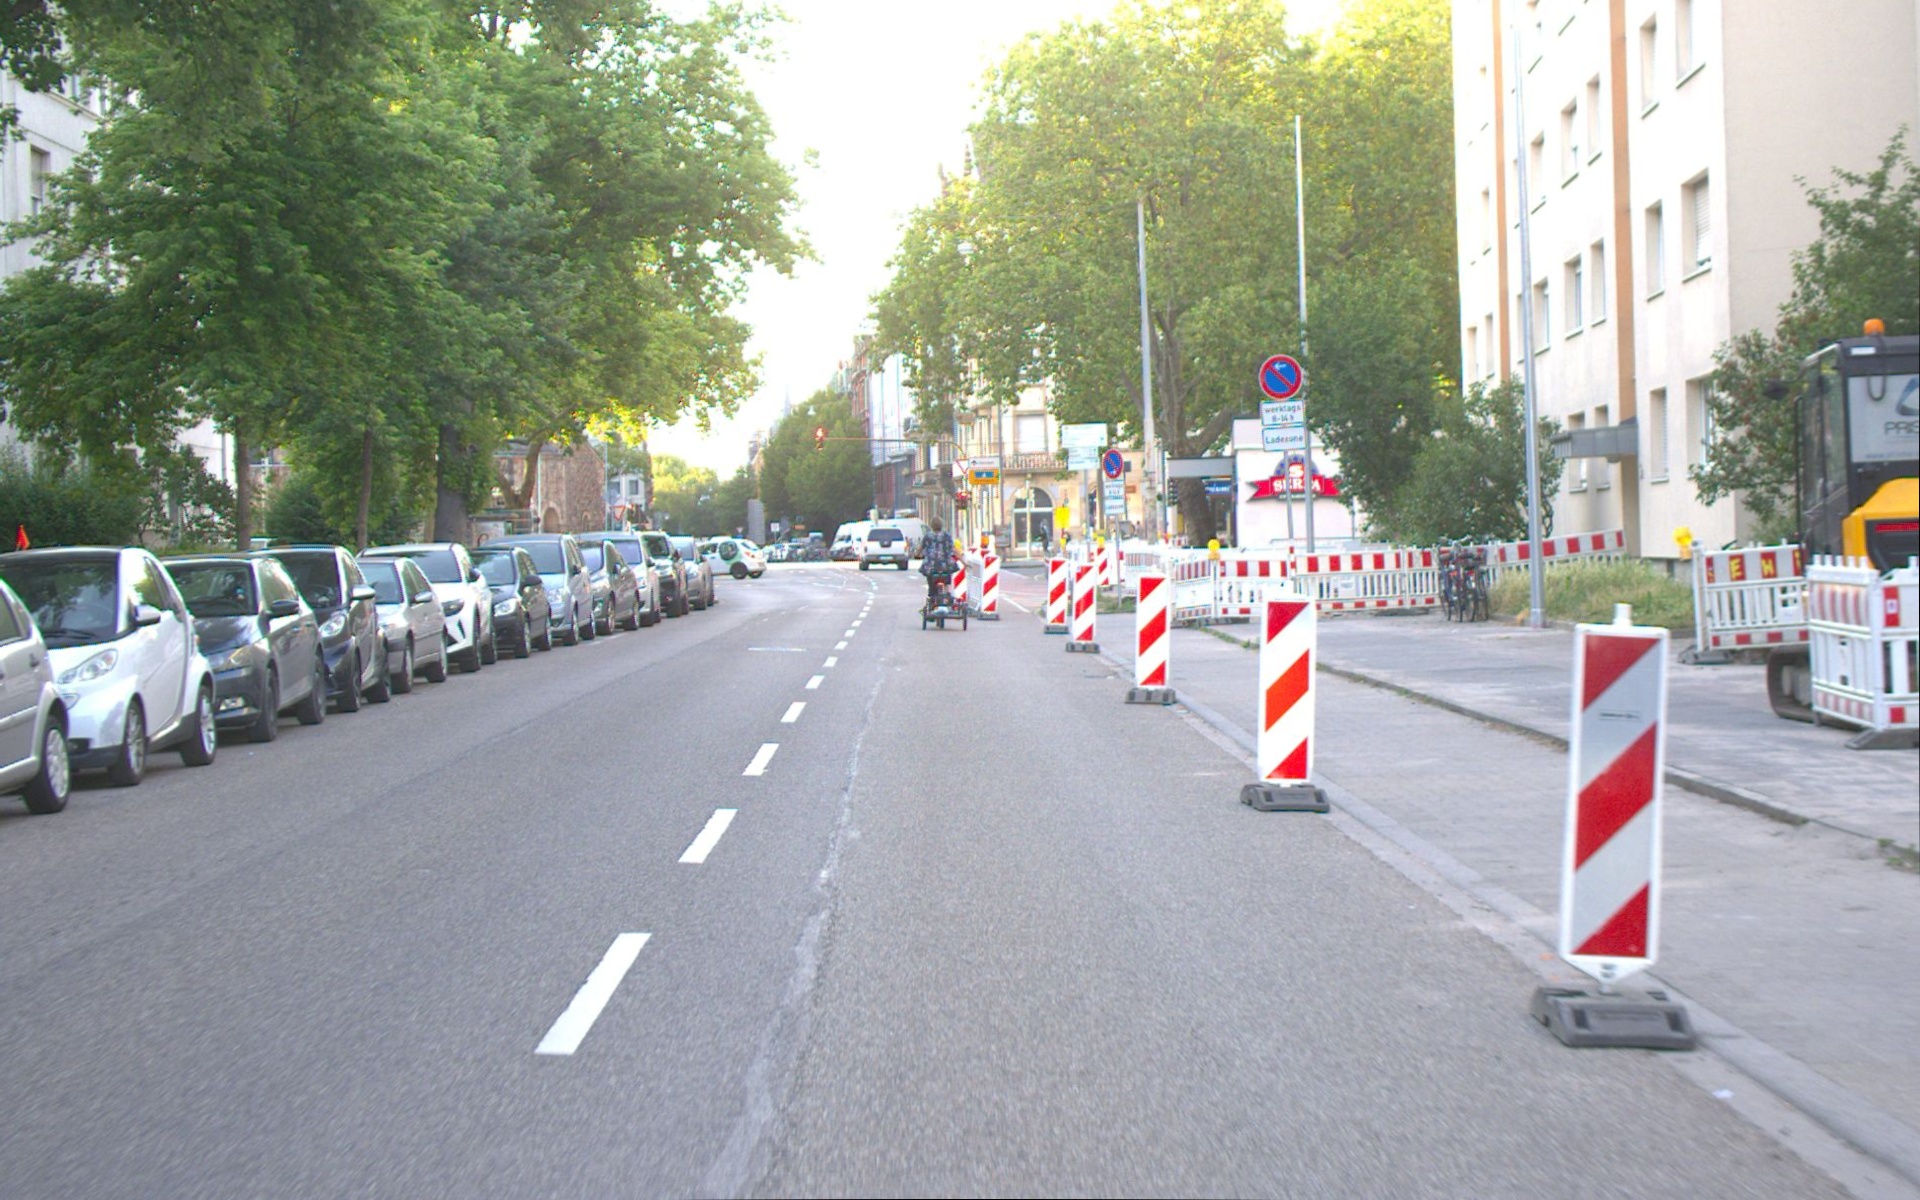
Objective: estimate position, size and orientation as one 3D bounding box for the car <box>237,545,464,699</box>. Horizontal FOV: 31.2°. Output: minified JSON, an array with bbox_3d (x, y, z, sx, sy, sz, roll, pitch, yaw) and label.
[{"bbox_3d":[-6.320,0.184,36.034,1.590,1.399,4.181,-4,1,-1],"label":"car"}]

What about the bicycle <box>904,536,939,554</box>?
[{"bbox_3d":[-2.188,-3.137,195.306,1.914,0.965,0.546,-1,1,-2],"label":"bicycle"}]

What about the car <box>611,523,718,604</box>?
[{"bbox_3d":[-6.457,-0.819,75.515,1.953,1.611,4.605,-3,1,-1],"label":"car"}]

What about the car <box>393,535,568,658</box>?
[{"bbox_3d":[-6.335,-0.085,45.743,1.707,1.447,3.843,-4,1,0],"label":"car"}]

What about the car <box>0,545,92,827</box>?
[{"bbox_3d":[-5.953,0.512,18.429,1.590,1.500,3.800,-4,1,-1],"label":"car"}]

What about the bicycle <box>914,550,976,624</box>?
[{"bbox_3d":[-0.245,-0.228,57.471,0.939,1.168,2.359,-4,1,0],"label":"bicycle"}]

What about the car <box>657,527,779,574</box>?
[{"bbox_3d":[-8.876,-1.818,125.966,3.991,1.580,1.870,-2,1,21],"label":"car"}]

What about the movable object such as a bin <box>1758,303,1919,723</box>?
[{"bbox_3d":[6.680,-0.597,23.444,1.933,2.683,2.891,-1,1,4],"label":"movable object such as a bin"}]

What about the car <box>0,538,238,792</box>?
[{"bbox_3d":[-5.994,0.407,22.894,1.590,1.524,2.921,-4,1,1],"label":"car"}]

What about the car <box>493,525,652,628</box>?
[{"bbox_3d":[-6.151,-0.409,54.963,1.733,1.492,4.270,-3,1,4],"label":"car"}]

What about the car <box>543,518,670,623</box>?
[{"bbox_3d":[-6.170,-0.541,60.423,1.846,1.685,4.860,-3,1,-2],"label":"car"}]

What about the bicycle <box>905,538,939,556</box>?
[{"bbox_3d":[-2.164,-3.027,195.588,1.914,0.965,0.546,-1,1,-2],"label":"bicycle"}]

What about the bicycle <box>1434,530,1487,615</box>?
[{"bbox_3d":[7.316,-0.409,50.297,0.398,1.217,1.911,-1,1,-3],"label":"bicycle"}]

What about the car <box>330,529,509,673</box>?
[{"bbox_3d":[-6.441,-0.019,41.348,1.590,1.533,4.207,-4,1,-3],"label":"car"}]

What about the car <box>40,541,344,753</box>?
[{"bbox_3d":[-6.090,0.317,27.664,1.590,1.461,4.102,-4,1,-2],"label":"car"}]

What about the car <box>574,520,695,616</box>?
[{"bbox_3d":[-6.369,-0.655,67.677,1.953,1.713,4.771,-3,1,-1],"label":"car"}]

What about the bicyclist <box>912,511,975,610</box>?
[{"bbox_3d":[-0.275,-0.661,57.478,0.939,1.576,1.146,-4,1,0],"label":"bicyclist"}]

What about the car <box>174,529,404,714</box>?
[{"bbox_3d":[-6.177,0.165,31.929,1.523,1.524,3.165,-4,1,-2],"label":"car"}]

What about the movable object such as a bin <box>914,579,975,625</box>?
[{"bbox_3d":[-0.249,0.029,55.796,0.939,0.686,0.993,-4,1,1],"label":"movable object such as a bin"}]

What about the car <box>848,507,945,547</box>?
[{"bbox_3d":[-3.718,-4.289,201.796,5.807,2.280,2.071,-2,2,-43],"label":"car"}]

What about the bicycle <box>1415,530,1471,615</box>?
[{"bbox_3d":[7.042,-0.409,50.205,0.451,1.217,1.911,-1,1,-3],"label":"bicycle"}]

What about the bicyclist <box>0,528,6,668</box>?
[{"bbox_3d":[-9.977,-0.015,34.015,0.808,1.399,0.974,0,1,-1],"label":"bicyclist"}]

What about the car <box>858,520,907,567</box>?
[{"bbox_3d":[-3.156,-2.287,139.460,1.866,1.808,4.000,-2,1,-2],"label":"car"}]

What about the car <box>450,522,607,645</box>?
[{"bbox_3d":[-6.248,-0.266,50.159,1.707,1.595,4.117,-4,1,-1],"label":"car"}]

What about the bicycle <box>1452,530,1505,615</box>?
[{"bbox_3d":[7.567,-0.407,50.231,0.398,1.217,1.826,-1,1,-3],"label":"bicycle"}]
